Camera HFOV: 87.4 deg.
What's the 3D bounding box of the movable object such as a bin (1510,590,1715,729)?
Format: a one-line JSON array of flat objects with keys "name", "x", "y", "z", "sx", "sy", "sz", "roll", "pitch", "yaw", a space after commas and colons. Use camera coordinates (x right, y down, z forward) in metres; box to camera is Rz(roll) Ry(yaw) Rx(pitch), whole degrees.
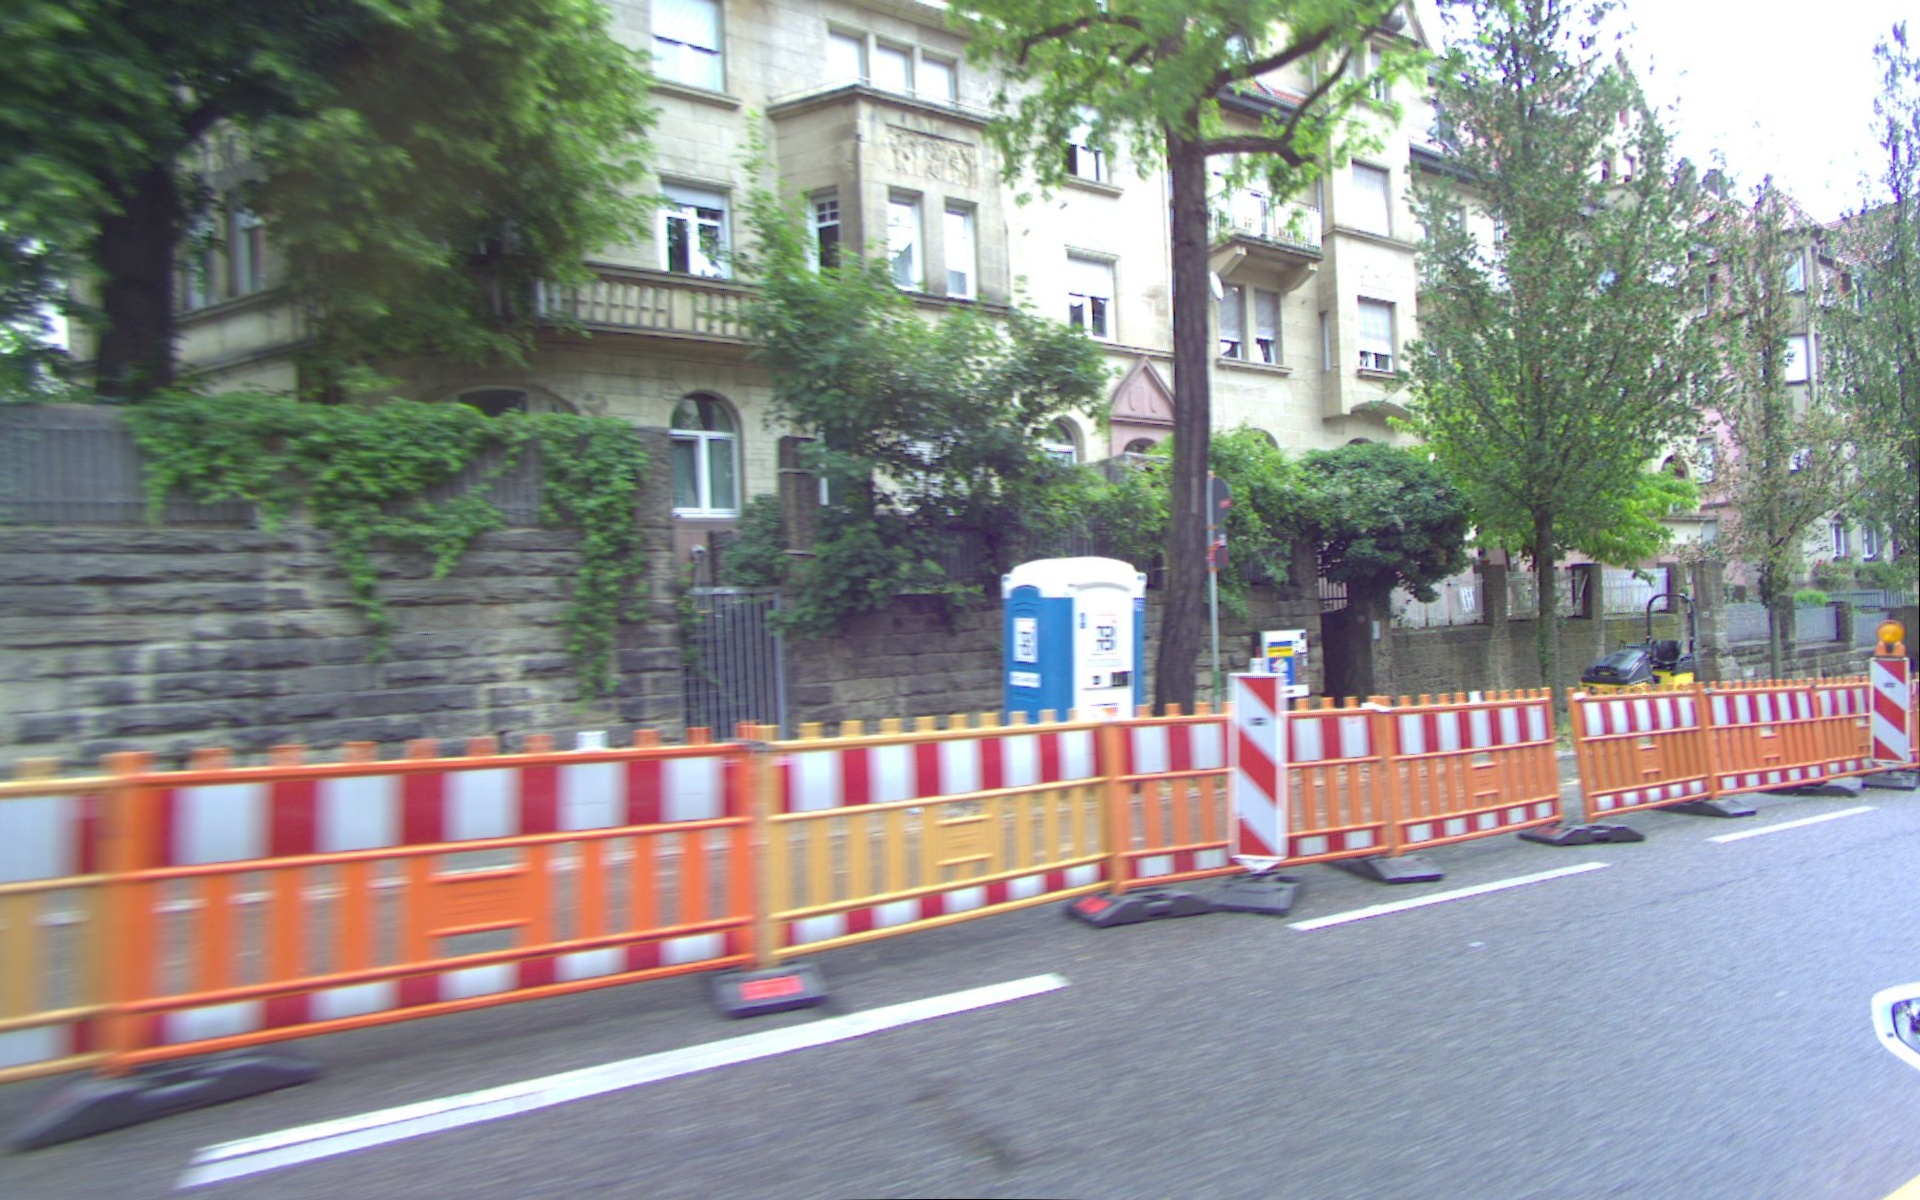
[{"name": "movable object such as a bin", "x": 11.879, "y": 1.045, "z": 18.330, "sx": 2.779, "sy": 2.329, "sz": 1.987, "roll": 0, "pitch": -2, "yaw": -27}]
